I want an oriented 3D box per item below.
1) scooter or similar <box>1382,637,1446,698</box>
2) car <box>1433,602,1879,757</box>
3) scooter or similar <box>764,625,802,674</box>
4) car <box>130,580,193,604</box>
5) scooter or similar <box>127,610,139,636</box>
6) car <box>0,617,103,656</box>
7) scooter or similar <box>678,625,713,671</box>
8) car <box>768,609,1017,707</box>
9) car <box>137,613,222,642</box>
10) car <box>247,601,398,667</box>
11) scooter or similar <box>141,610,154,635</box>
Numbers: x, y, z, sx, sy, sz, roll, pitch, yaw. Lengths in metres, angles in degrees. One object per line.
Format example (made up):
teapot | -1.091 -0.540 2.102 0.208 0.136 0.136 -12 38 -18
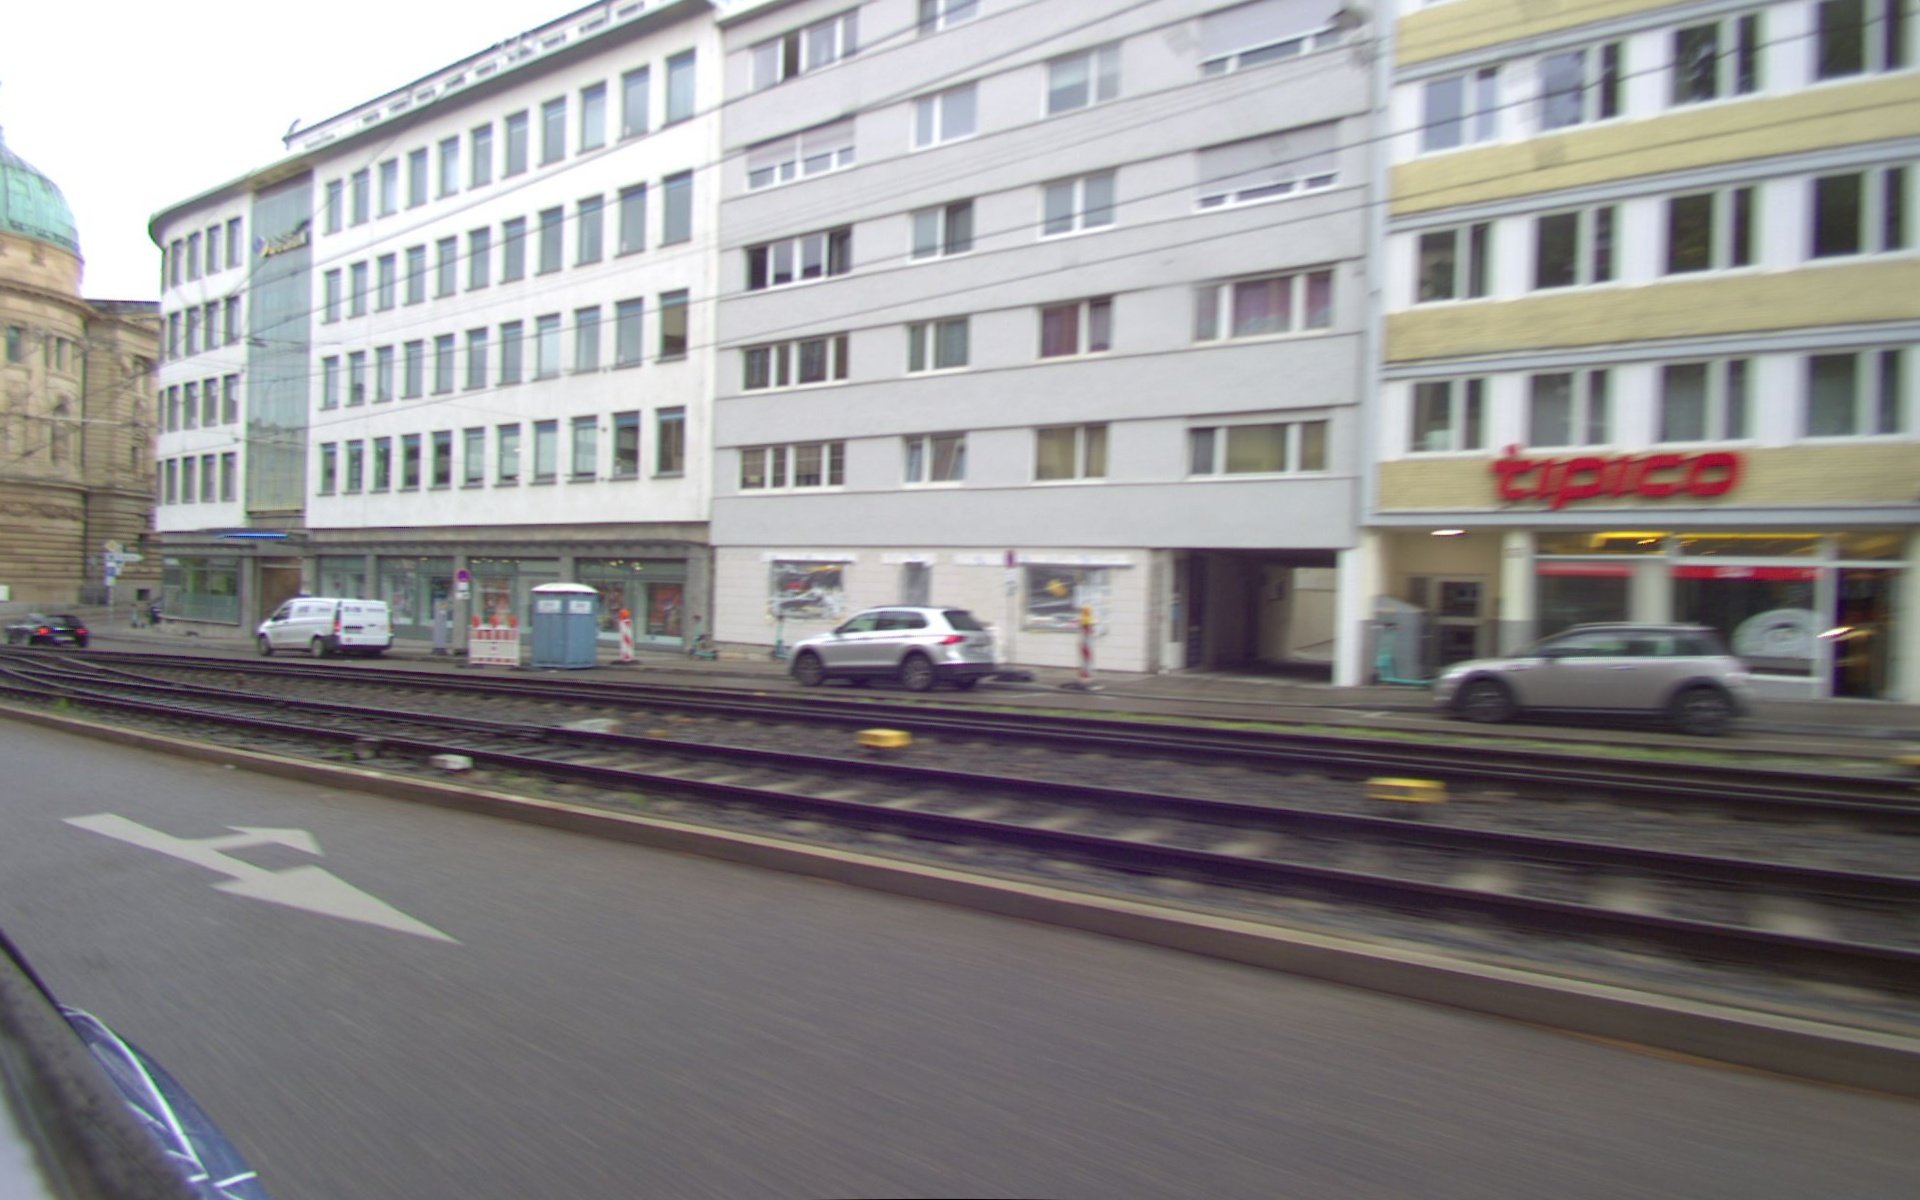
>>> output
scooter or similar | 8.172 1.218 18.240 0.970 1.040 0.378 -3 -1 32
car | 9.092 0.921 13.764 4.677 1.686 1.980 1 1 30
scooter or similar | -4.604 1.276 26.366 0.970 1.212 0.378 1 1 32
car | -57.436 -0.606 72.798 3.976 1.652 1.984 1 1 24
scooter or similar | -41.534 1.143 50.840 0.404 1.209 1.562 -1 1 -42
car | -33.720 1.302 37.180 4.677 1.264 1.979 1 -1 30
scooter or similar | -7.290 1.318 27.870 0.970 1.212 0.378 1 1 32
car | -1.395 1.079 20.078 4.681 1.686 1.978 -1 1 33
car | -43.047 1.483 55.928 1.757 1.408 4.334 0 1 -7
car | -20.424 1.026 32.358 5.112 1.856 1.980 1 1 31
scooter or similar | -41.140 1.112 51.232 0.404 1.209 1.564 0 1 -35
